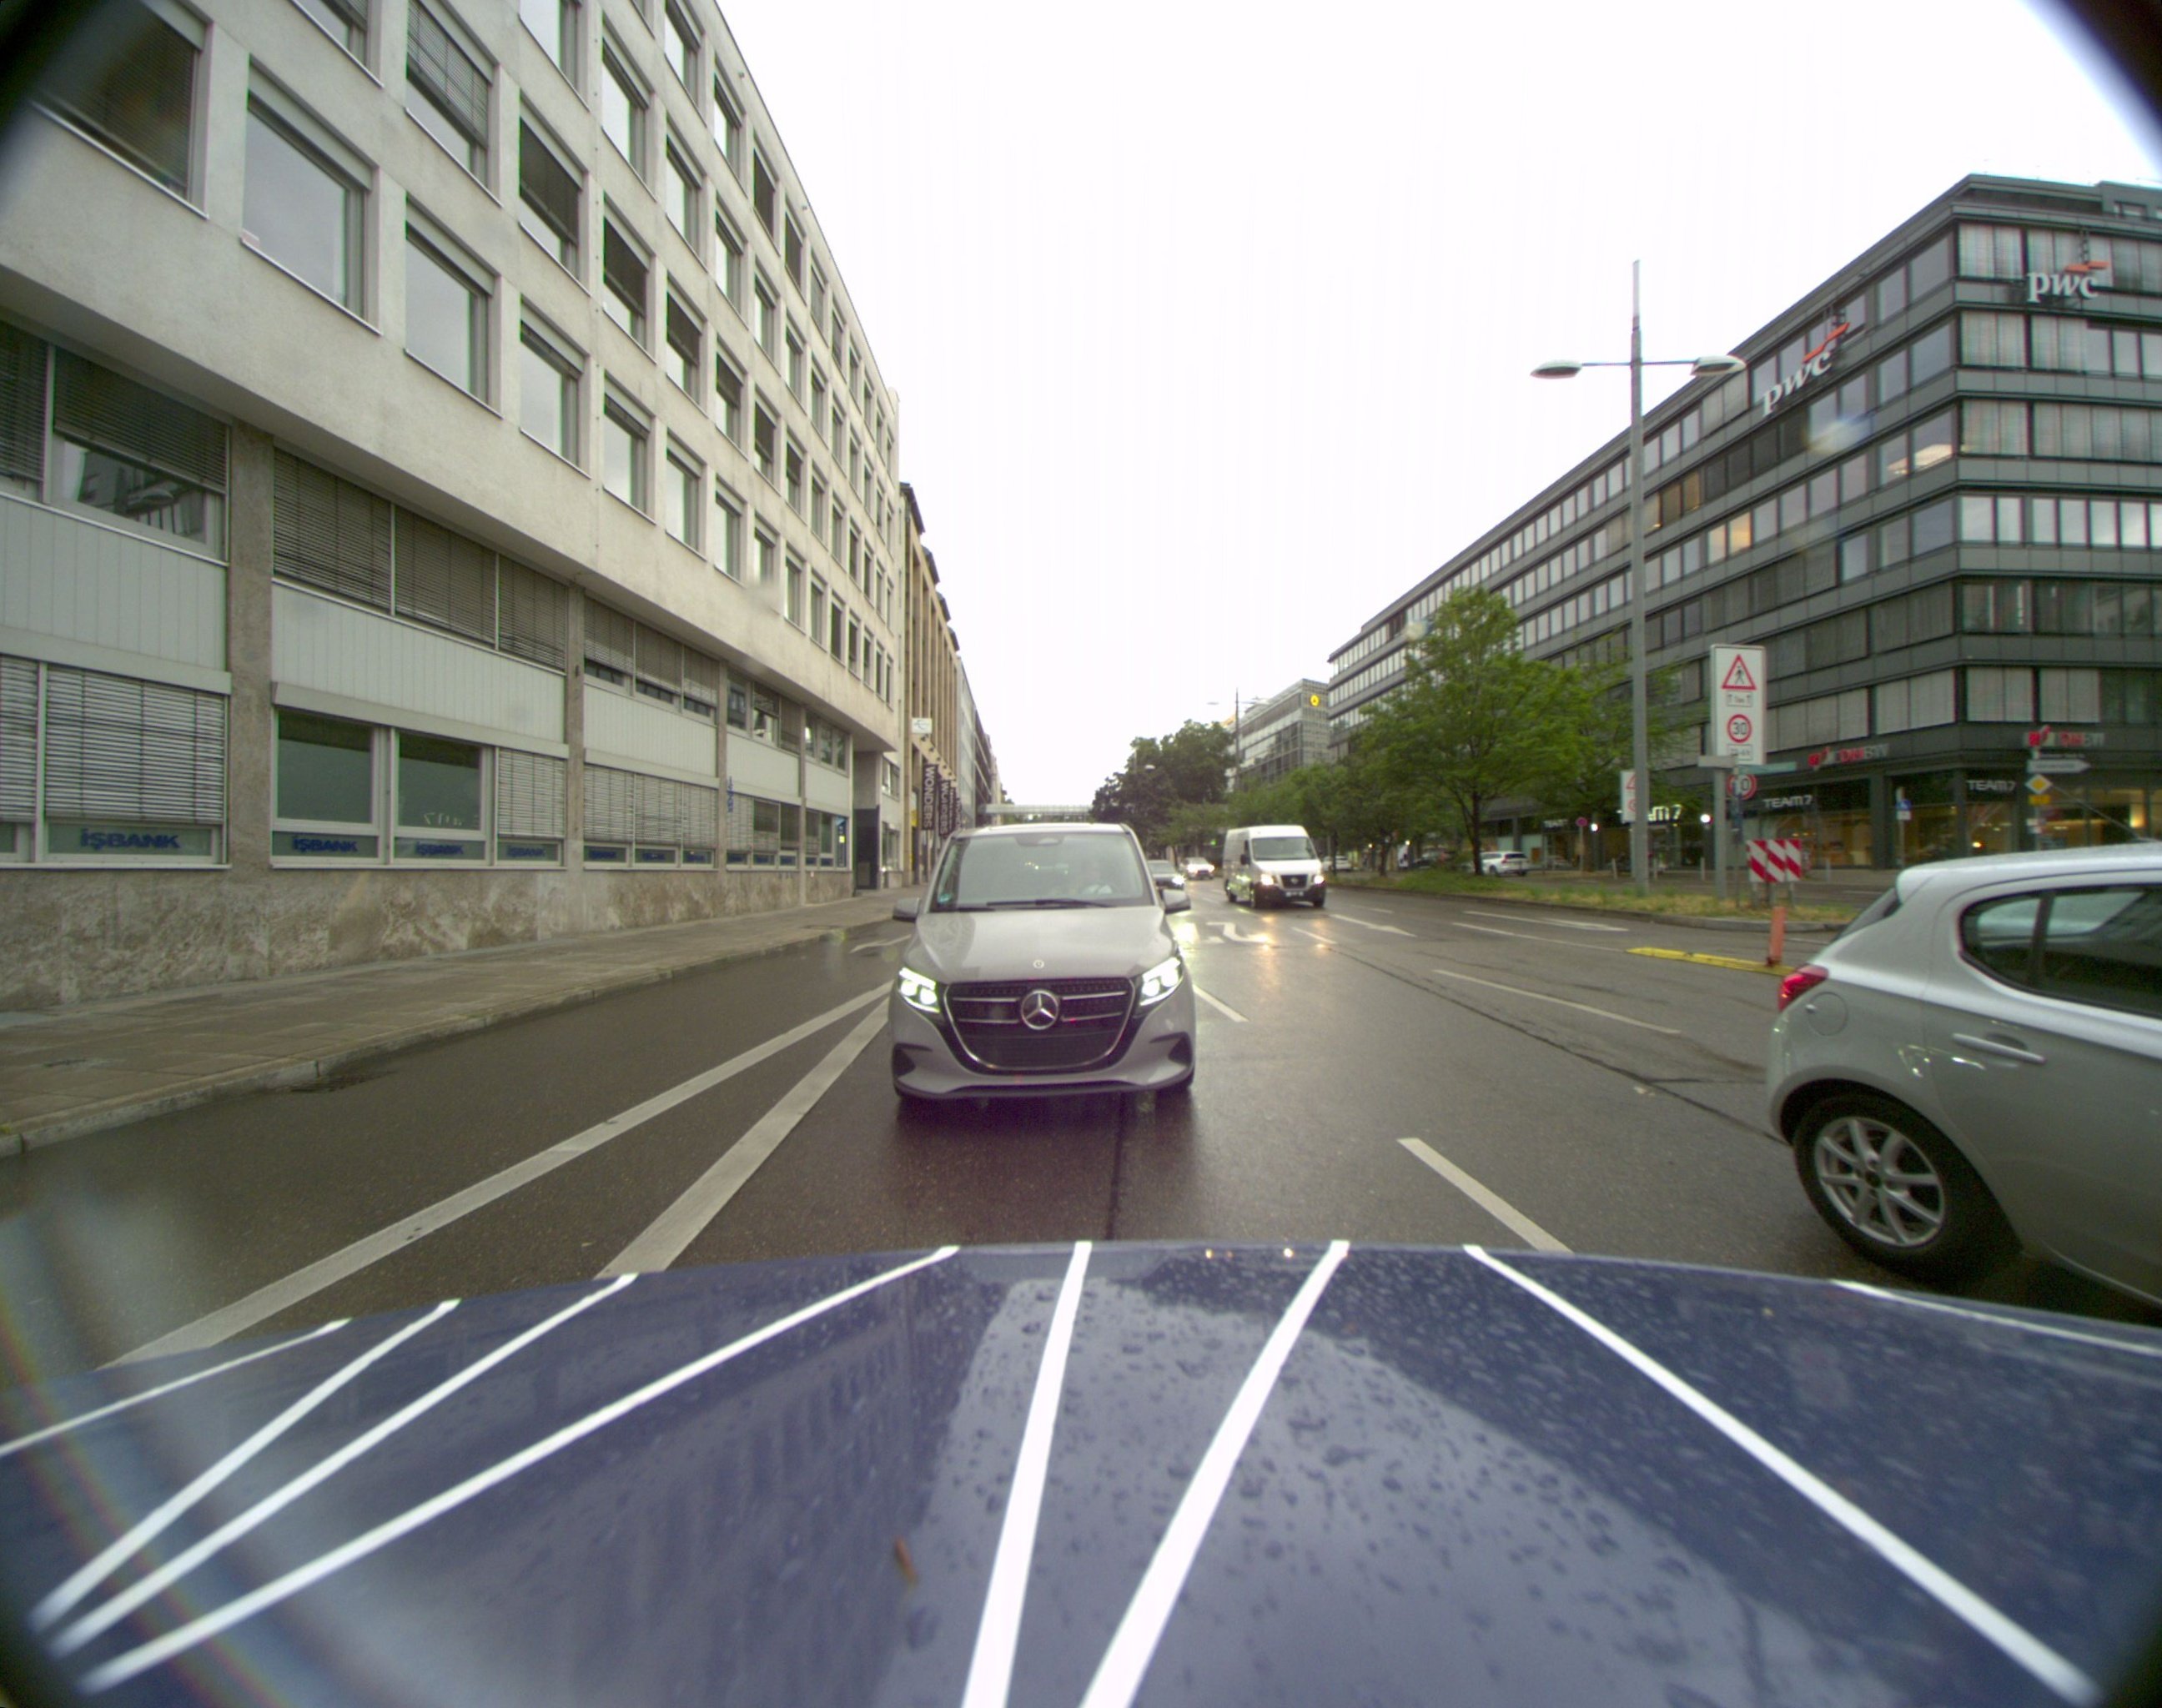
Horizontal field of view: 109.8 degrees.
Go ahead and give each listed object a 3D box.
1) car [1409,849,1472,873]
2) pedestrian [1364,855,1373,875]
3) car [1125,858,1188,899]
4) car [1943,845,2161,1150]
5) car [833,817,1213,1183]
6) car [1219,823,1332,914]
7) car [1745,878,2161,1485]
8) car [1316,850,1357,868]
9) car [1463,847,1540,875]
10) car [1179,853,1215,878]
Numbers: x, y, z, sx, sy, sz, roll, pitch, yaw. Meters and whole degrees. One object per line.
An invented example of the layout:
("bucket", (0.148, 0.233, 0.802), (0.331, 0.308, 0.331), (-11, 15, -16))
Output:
("car", (23.635, 0.442, 50.128), (1.999, 1.498, 4.106), (-2, 0, -4))
("pedestrian", (28.784, 1.070, 76.133), (0.689, 2.002, 0.501), (-2, 0, -3))
("car", (2.884, 0.909, 29.856), (1.776, 1.427, 4.093), (-2, 0, -4))
("car", (6.434, 0.717, 2.450), (1.870, 1.524, 4.777), (-2, 0, 0))
("car", (-0.318, 0.767, 6.481), (1.916, 1.844, 5.026), (-2, 0, 0))
("car", (5.776, 0.400, 23.369), (1.951, 2.426, 5.480), (-2, 0, 0))
("car", (3.508, 0.834, 1.102), (1.652, 1.427, 3.875), (-2, 0, 0))
("car", (22.381, 0.452, 66.673), (1.999, 1.498, 3.999), (-2, 0, -4))
("car", (24.093, 0.383, 43.670), (1.999, 1.498, 3.999), (-2, 0, -4))
("car", (7.788, 0.736, 51.266), (1.766, 1.608, 3.495), (-2, 0, -1))
